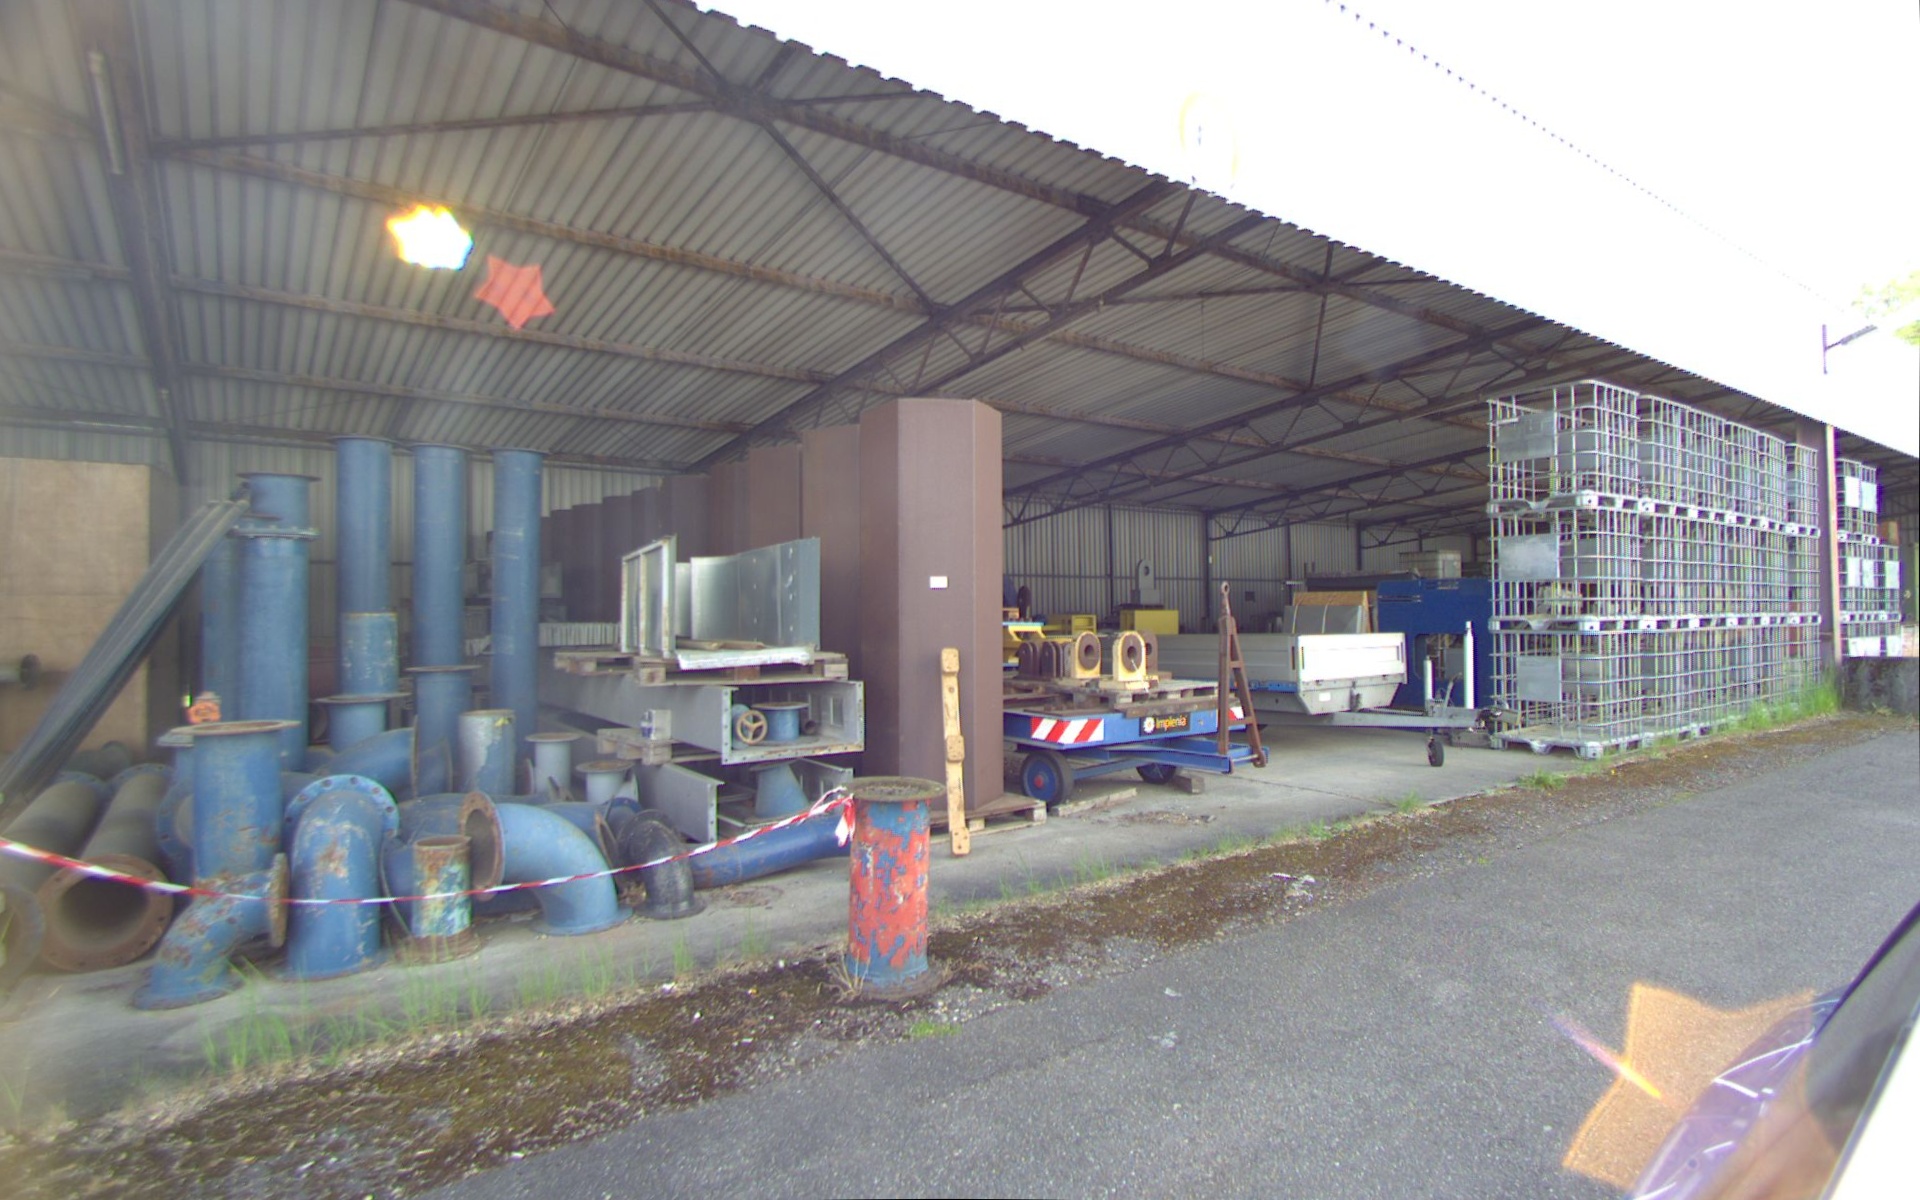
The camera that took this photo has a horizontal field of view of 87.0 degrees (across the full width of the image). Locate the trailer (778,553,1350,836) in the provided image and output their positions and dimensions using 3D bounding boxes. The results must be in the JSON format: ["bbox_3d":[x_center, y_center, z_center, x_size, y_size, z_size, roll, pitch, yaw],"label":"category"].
[{"bbox_3d":[0.482,0.565,8.460,1.991,1.649,4.880,0,-1,-37],"label":"trailer"}]

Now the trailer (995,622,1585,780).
[{"bbox_3d":[2.958,0.828,10.641,1.991,1.134,5.838,0,-1,-37],"label":"trailer"}]
